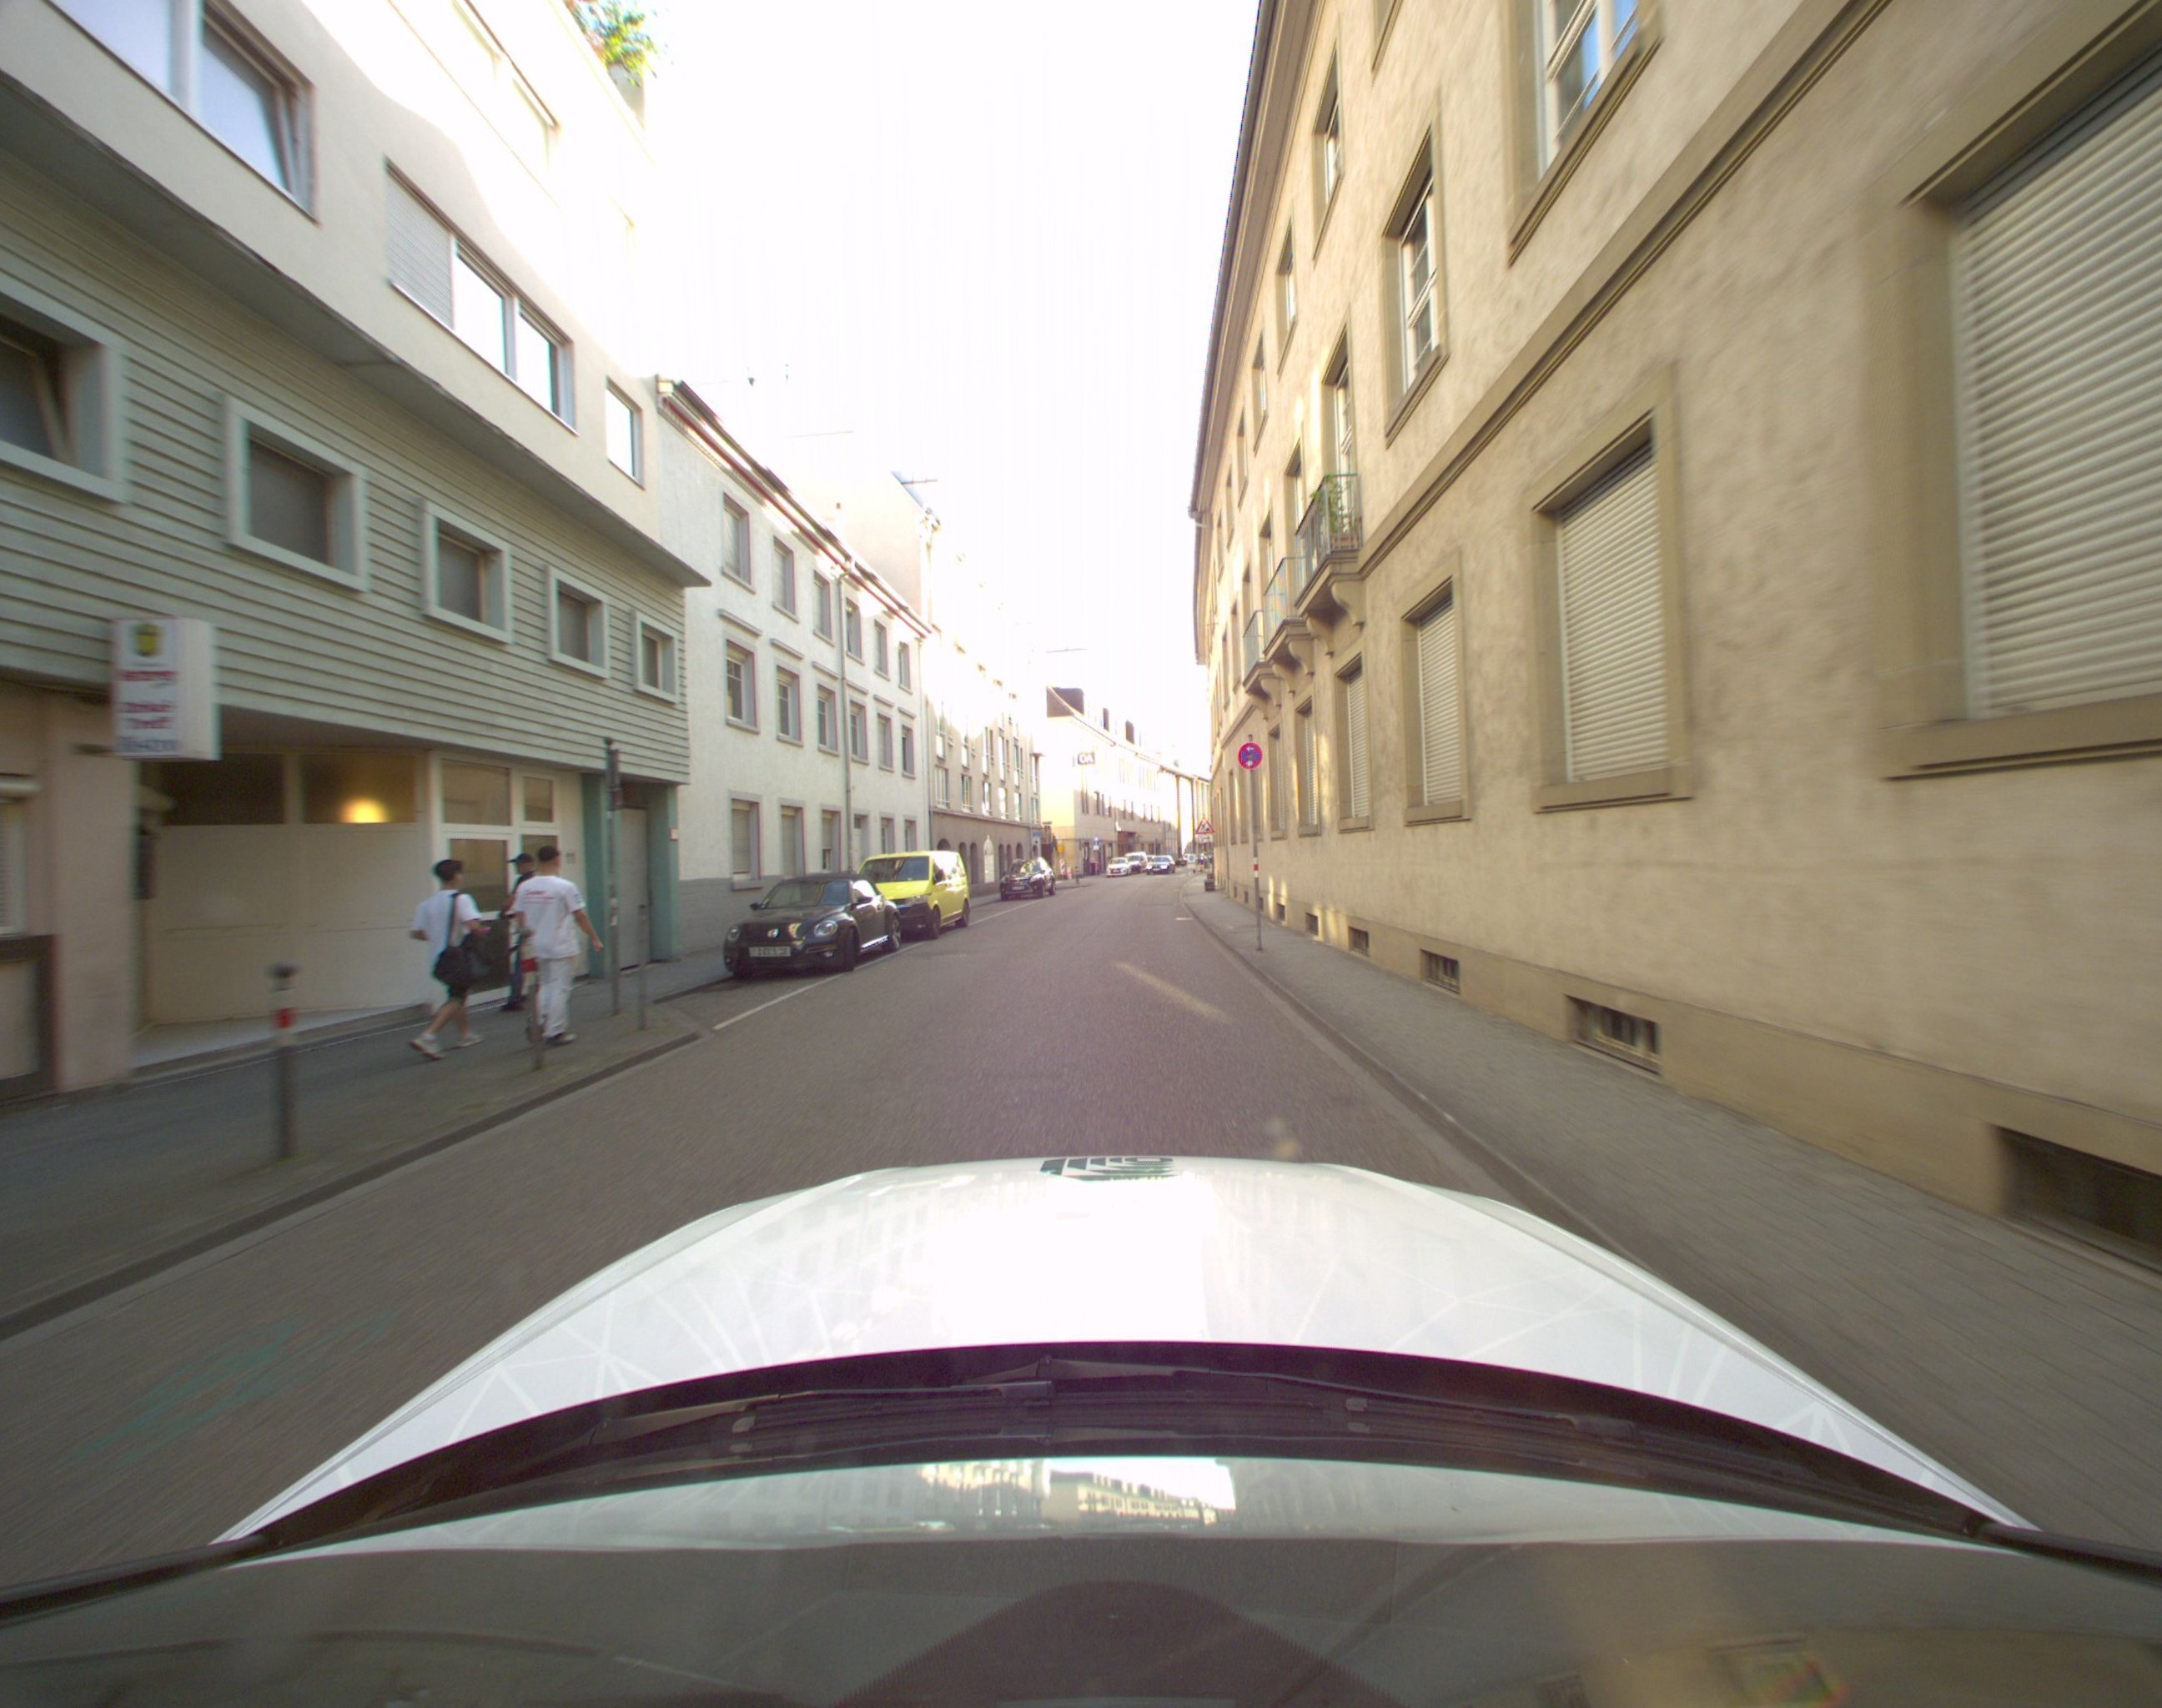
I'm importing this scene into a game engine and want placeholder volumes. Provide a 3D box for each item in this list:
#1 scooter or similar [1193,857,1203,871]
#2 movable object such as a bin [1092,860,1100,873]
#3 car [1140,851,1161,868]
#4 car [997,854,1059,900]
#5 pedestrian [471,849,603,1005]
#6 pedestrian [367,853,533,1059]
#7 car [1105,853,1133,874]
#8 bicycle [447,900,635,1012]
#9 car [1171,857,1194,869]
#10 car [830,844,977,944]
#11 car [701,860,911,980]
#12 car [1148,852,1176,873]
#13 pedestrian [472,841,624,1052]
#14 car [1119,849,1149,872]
[{"bbox_3d":[9.431,0.779,65.859,0.765,1.136,0.270,0,0,11],"label":"scooter or similar"},{"bbox_3d":[1.243,1.023,66.932,0.605,1.060,0.714,0,0,6],"label":"movable object such as a bin"},{"bbox_3d":[6.626,0.502,77.161,1.261,1.507,3.416,-4,0,16],"label":"car"},{"bbox_3d":[-2.220,0.923,35.171,1.730,1.711,4.200,-5,0,8],"label":"car"},{"bbox_3d":[-6.457,0.830,9.678,1.068,1.728,0.806,-2,0,25],"label":"pedestrian"},{"bbox_3d":[-5.524,0.846,7.188,0.670,1.669,0.895,-3,0,2],"label":"pedestrian"},{"bbox_3d":[3.069,0.753,65.484,1.660,1.507,3.804,-4,0,10],"label":"car"},{"bbox_3d":[-6.415,1.170,9.662,2.109,1.163,0.828,-2,0,24],"label":"bicycle"},{"bbox_3d":[12.148,1.052,97.246,1.866,1.332,4.120,-2,0,19],"label":"car"},{"bbox_3d":[-3.875,0.804,18.739,1.872,1.866,4.869,-5,0,4],"label":"car"},{"bbox_3d":[-4.229,0.933,13.290,1.812,1.486,4.078,-5,0,2],"label":"car"},{"bbox_3d":[6.449,0.648,65.054,1.710,1.578,4.188,-2,0,-1],"label":"car"},{"bbox_3d":[-4.703,0.777,7.246,0.695,1.734,0.829,-3,0,2],"label":"pedestrian"},{"bbox_3d":[4.681,0.498,71.185,1.658,1.818,4.570,-4,0,15],"label":"car"}]
